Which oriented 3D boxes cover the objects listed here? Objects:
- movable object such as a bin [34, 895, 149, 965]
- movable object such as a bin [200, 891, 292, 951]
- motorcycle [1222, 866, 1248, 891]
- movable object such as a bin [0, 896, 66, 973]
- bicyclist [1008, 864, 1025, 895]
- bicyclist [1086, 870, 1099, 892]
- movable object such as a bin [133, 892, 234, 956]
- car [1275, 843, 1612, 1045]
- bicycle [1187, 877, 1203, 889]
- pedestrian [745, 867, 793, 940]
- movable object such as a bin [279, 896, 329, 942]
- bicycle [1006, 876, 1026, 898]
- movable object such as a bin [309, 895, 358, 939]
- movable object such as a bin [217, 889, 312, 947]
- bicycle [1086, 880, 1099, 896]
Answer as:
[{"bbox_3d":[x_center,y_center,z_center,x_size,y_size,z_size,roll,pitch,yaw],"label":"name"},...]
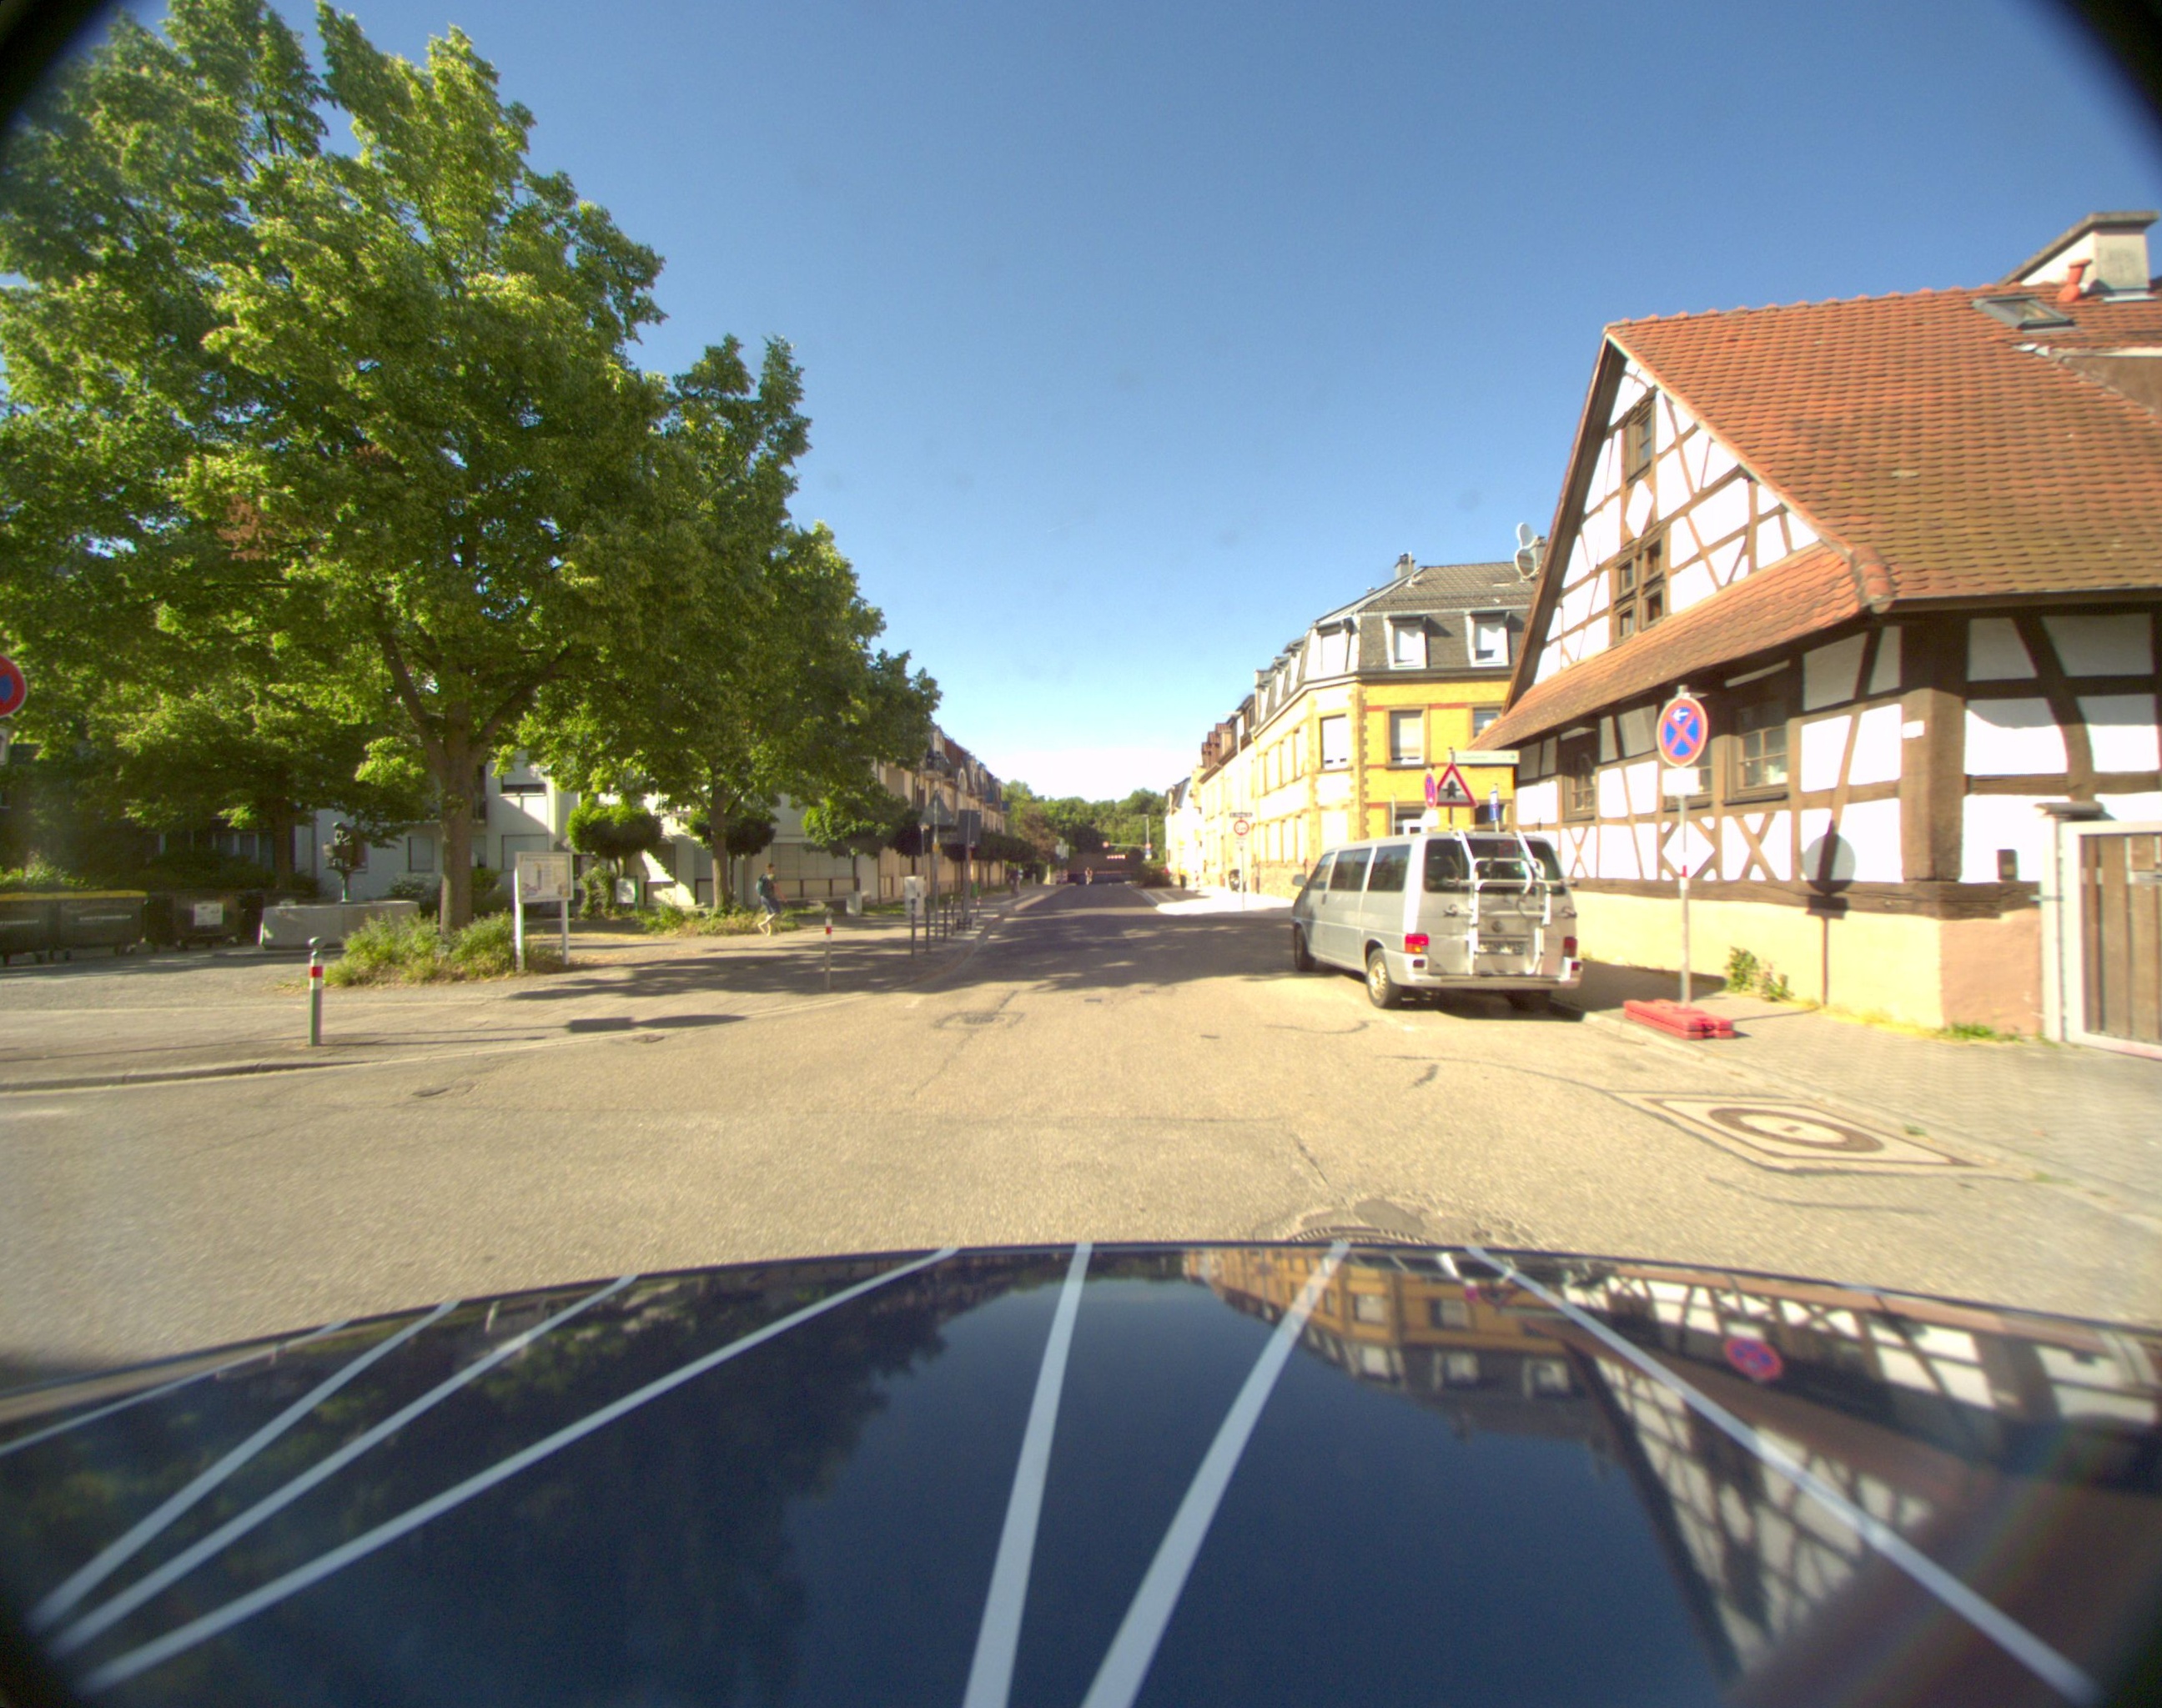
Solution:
[{"bbox_3d":[-19.515,1.478,15.004,0.970,1.248,1.016,-3,-1,11],"label":"movable object such as a bin"},{"bbox_3d":[-19.034,1.509,17.346,0.970,1.248,1.016,-3,-1,11],"label":"movable object such as a bin"},{"bbox_3d":[8.371,1.326,41.422,0.848,1.245,2.257,-3,-1,-1],"label":"motorcycle"},{"bbox_3d":[-19.747,1.479,13.869,0.970,1.332,1.106,-3,-1,11],"label":"movable object such as a bin"},{"bbox_3d":[-3.302,1.305,39.163,0.668,1.530,0.915,3,0,5],"label":"bicyclist"},{"bbox_3d":[1.202,2.862,81.953,1.257,2.294,1.243,-3,0,-1],"label":"bicyclist"},{"bbox_3d":[-19.240,1.482,16.313,0.970,1.248,1.016,-3,-1,11],"label":"movable object such as a bin"},{"bbox_3d":[4.002,0.879,9.508,1.880,1.870,4.836,0,-1,0],"label":"car"},{"bbox_3d":[6.626,1.680,44.003,0.383,0.606,1.344,-4,-1,32],"label":"bicycle"},{"bbox_3d":[-7.570,1.175,18.458,0.659,1.707,0.829,-1,0,28],"label":"pedestrian"},{"bbox_3d":[-19.715,1.652,19.286,0.708,1.086,0.561,-3,0,11],"label":"movable object such as a bin"},{"bbox_3d":[-3.323,1.687,39.116,0.668,1.057,1.818,3,0,5],"label":"bicycle"},{"bbox_3d":[-19.616,1.656,19.944,0.708,1.086,0.561,-3,0,11],"label":"movable object such as a bin"},{"bbox_3d":[-19.310,1.494,18.001,1.030,1.248,1.131,-3,-1,-12],"label":"movable object such as a bin"},{"bbox_3d":[1.233,3.685,81.859,1.257,1.542,4.000,-3,-1,-1],"label":"bicycle"}]
